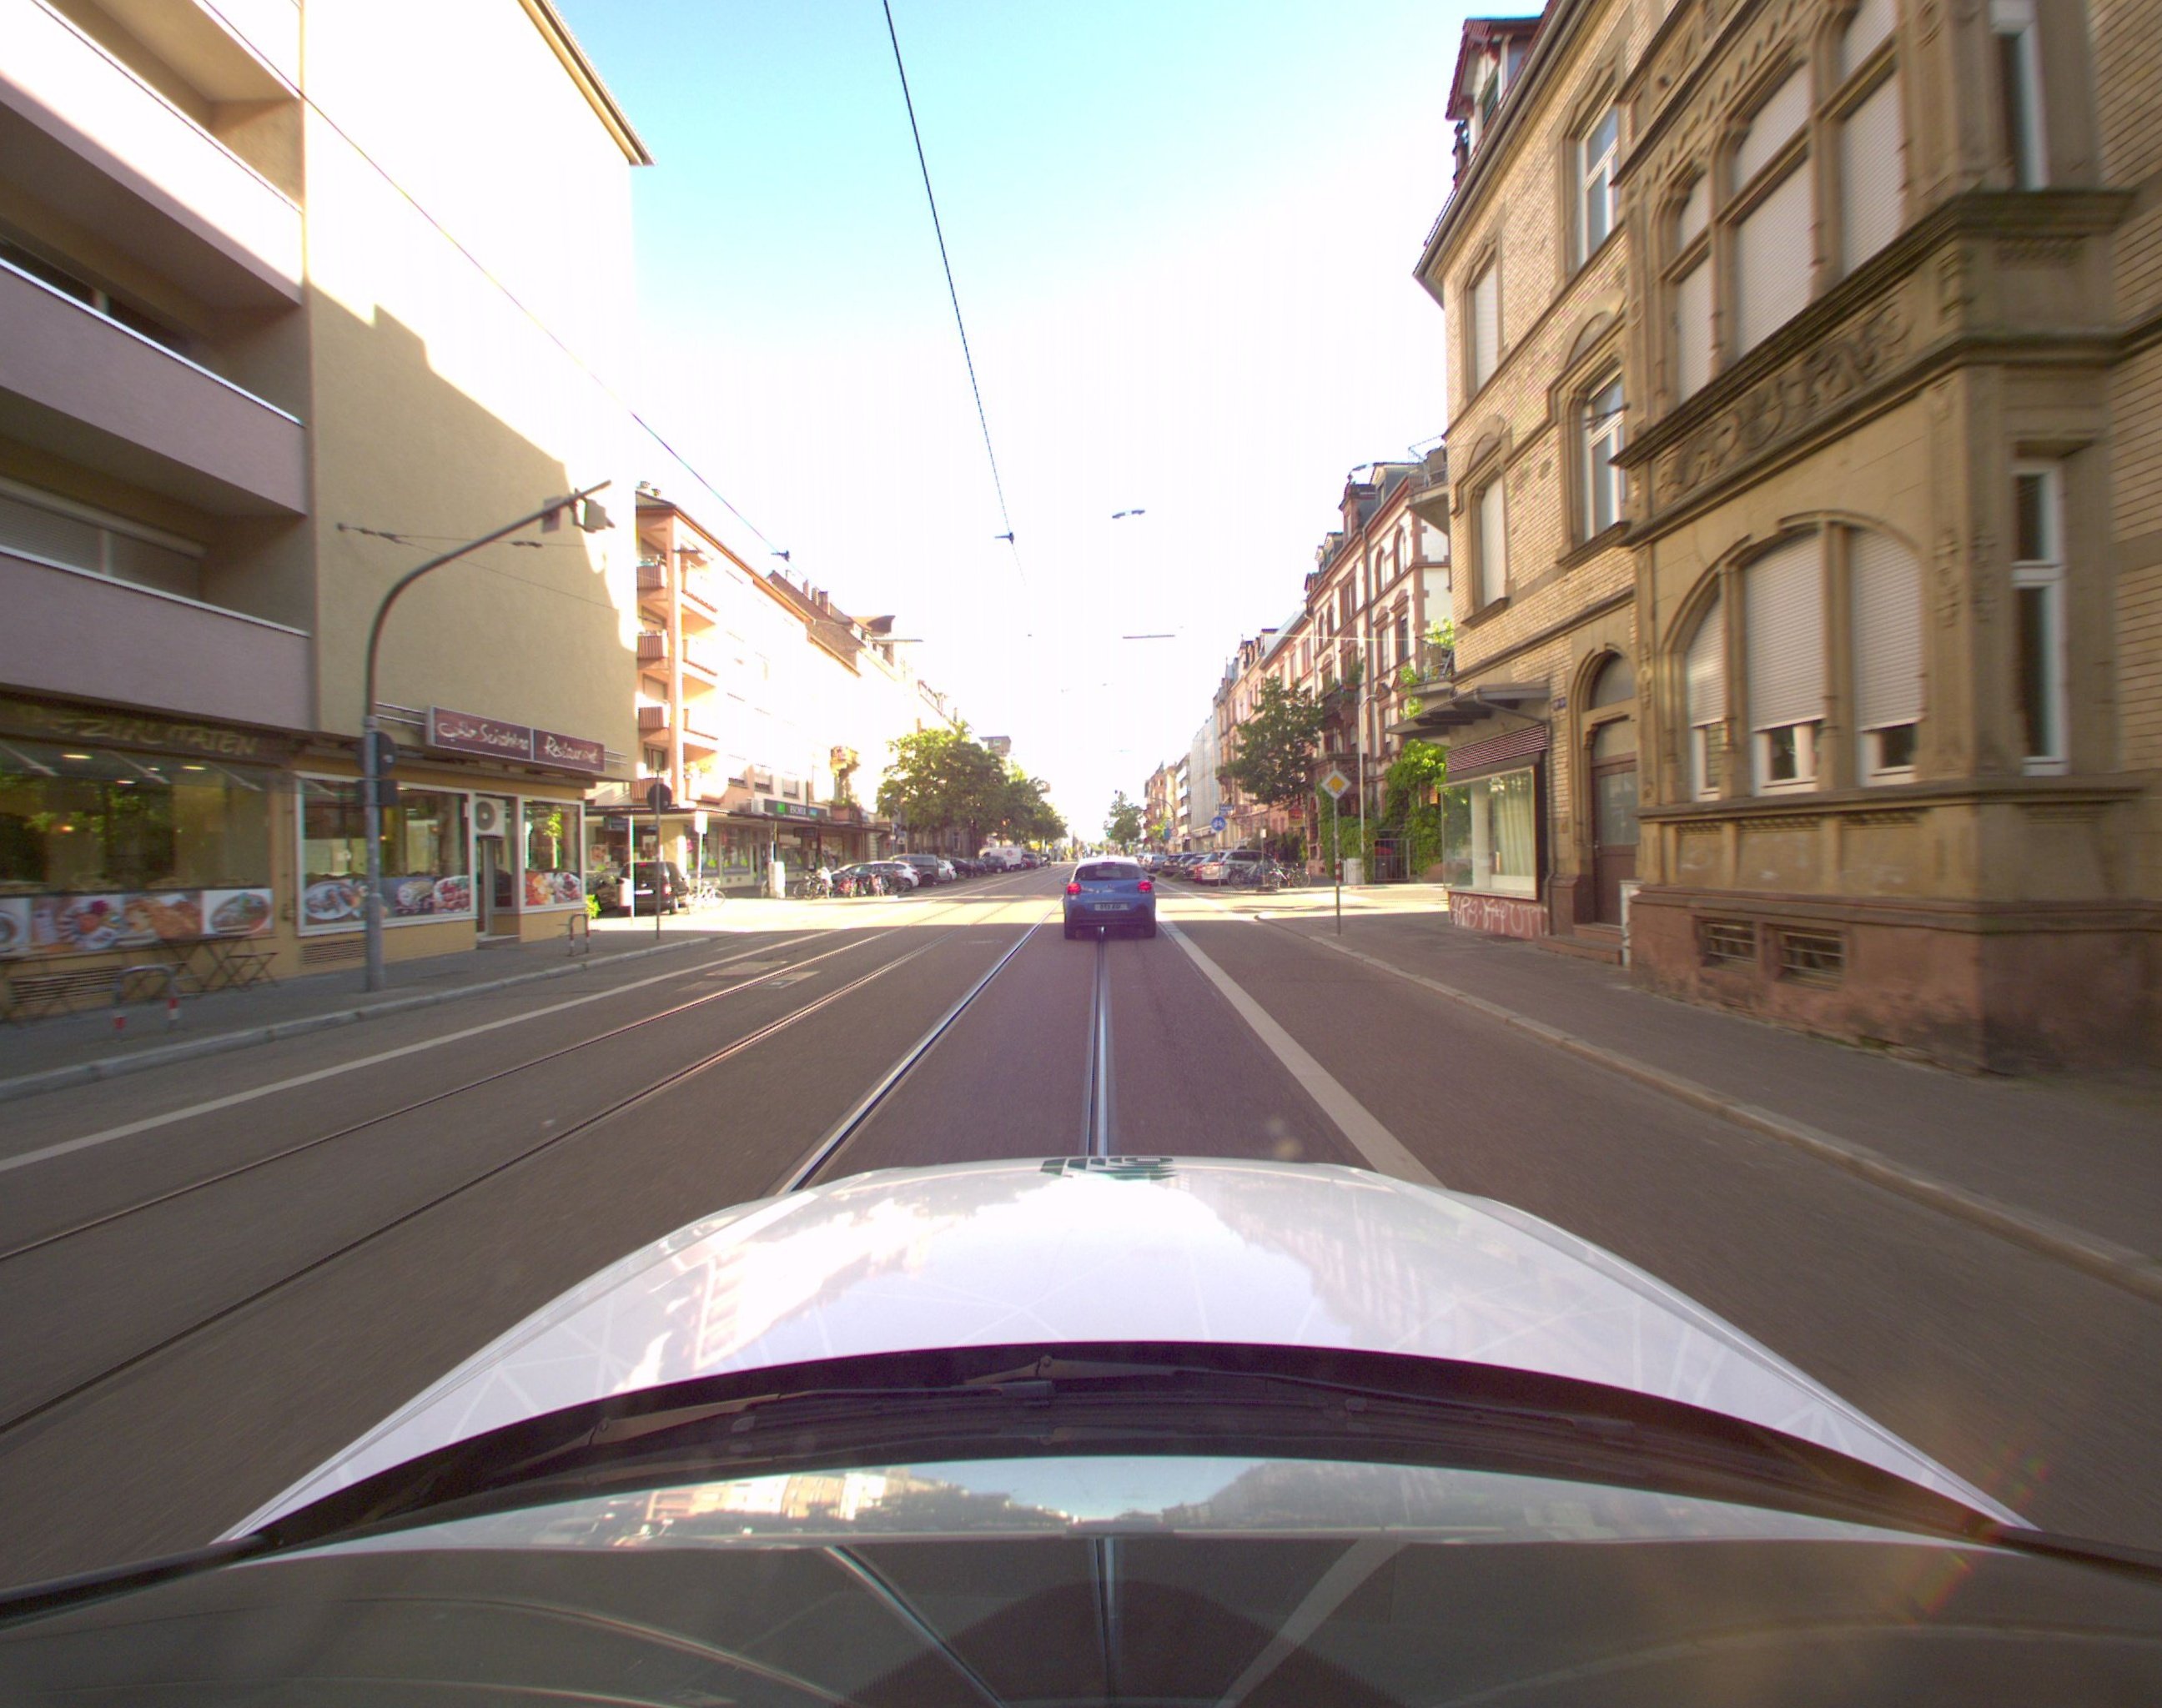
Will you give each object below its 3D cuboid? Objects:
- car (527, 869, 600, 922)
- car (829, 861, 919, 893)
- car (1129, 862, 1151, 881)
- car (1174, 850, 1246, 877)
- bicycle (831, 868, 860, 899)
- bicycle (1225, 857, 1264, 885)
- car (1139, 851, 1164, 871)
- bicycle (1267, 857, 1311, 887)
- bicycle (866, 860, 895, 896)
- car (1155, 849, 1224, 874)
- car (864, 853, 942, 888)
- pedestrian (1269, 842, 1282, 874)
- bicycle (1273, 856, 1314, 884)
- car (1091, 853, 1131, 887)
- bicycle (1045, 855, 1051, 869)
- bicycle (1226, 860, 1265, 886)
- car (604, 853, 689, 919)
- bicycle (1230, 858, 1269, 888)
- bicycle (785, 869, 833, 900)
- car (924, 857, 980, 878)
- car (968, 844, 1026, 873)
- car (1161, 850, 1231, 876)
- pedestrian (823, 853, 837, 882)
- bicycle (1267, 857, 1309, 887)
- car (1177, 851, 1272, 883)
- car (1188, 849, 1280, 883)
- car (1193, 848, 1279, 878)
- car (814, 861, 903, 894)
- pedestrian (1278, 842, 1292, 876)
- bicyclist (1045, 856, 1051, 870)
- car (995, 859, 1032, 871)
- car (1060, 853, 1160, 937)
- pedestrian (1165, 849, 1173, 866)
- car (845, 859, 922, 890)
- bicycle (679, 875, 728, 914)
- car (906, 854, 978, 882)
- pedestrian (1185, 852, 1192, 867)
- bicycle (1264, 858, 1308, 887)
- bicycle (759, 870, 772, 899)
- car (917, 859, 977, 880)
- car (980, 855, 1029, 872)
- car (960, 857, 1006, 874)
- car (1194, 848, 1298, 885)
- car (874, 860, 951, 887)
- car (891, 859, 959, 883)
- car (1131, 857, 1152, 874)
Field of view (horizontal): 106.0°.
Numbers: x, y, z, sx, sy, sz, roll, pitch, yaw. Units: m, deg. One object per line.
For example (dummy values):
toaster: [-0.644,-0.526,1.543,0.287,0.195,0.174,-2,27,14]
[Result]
car: [-17.768,1.369,28.097,1.854,1.392,3.964,-1,3,-29]
car: [-9.800,1.054,38.679,3.804,1.400,1.737,0,-1,-32]
car: [5.288,1.550,73.469,1.866,1.596,4.002,-1,0,2]
car: [7.926,0.562,50.090,4.004,1.596,1.944,0,-1,-23]
bicycle: [-9.472,1.162,32.725,0.686,1.123,1.870,-2,2,-29]
bicycle: [6.762,0.705,33.691,1.551,1.127,0.295,-1,-1,7]
car: [5.821,0.598,67.771,1.866,1.596,4.721,-1,0,2]
bicycle: [7.977,0.670,31.249,1.547,1.127,0.552,-1,-1,7]
bicycle: [-8.146,0.947,33.178,0.680,1.319,2.434,-1,2,-2]
car: [7.412,0.512,55.684,4.322,1.596,1.967,0,-1,-23]
car: [-9.718,0.876,44.383,3.831,1.785,1.781,0,-1,-27]
pedestrian: [10.162,0.202,42.591,0.516,1.648,0.864,-1,-1,2]
bicycle: [8.743,0.640,33.567,1.547,1.127,0.552,-1,-1,7]
car: [1.497,0.781,40.709,1.866,1.596,4.002,-1,0,2]
bicycle: [-4.172,0.999,103.256,0.678,1.678,2.097,-1,-1,2]
bicycle: [6.720,0.776,33.365,1.547,1.079,0.308,-1,-1,7]
car: [-15.000,1.027,28.362,1.849,1.817,4.330,-4,4,-19]
bicycle: [6.540,0.746,31.617,1.397,1.127,0.549,-1,-1,-11]
bicycle: [-10.765,1.195,32.197,2.405,1.109,0.688,1,2,42]
car: [-10.067,1.036,63.493,4.008,1.489,1.790,0,-1,-27]
car: [-8.322,0.413,80.756,5.402,2.749,1.789,0,-1,-29]
car: [7.479,0.589,53.089,4.004,1.596,2.071,0,-1,-23]
pedestrian: [-14.259,0.763,46.194,0.567,1.652,0.641,-1,-1,1]
bicycle: [8.070,0.692,31.825,1.547,1.127,0.529,-1,-1,7]
car: [7.459,0.650,42.379,4.454,1.596,2.072,0,-1,-23]
car: [7.429,0.567,39.601,4.004,1.536,1.904,0,-1,-23]
car: [8.598,0.485,45.240,4.337,1.596,2.029,0,-1,-23]
car: [-9.755,1.015,35.741,3.484,1.337,1.608,0,-1,-33]
pedestrian: [10.778,0.250,42.978,0.516,1.778,0.864,-1,-1,2]
bicyclist: [-4.161,1.125,103.325,0.632,1.681,0.727,-1,-1,1]
car: [-7.521,1.215,90.750,3.815,1.265,1.504,0,-1,-24]
car: [0.553,0.734,16.099,1.756,1.441,3.557,-1,0,1]
pedestrian: [8.199,0.314,76.051,0.709,1.607,0.654,-1,-1,0]
car: [-10.069,1.013,41.515,3.479,1.473,1.634,-1,0,-28]
bicycle: [-12.800,1.338,27.702,0.680,1.109,2.432,-1,2,-5]
car: [-9.378,0.946,54.866,4.381,1.783,1.976,0,-1,-31]
pedestrian: [12.531,0.621,94.647,0.690,1.756,0.678,-1,-1,1]
bicycle: [8.146,0.744,32.399,1.665,1.127,0.552,-1,-1,7]
bicycle: [-12.662,1.214,32.664,0.404,1.109,1.825,-1,-1,-19]
car: [-9.941,1.110,60.573,4.013,1.489,1.788,0,-1,-31]
car: [-7.934,0.983,84.680,4.787,1.618,1.695,0,-1,-31]
car: [-9.024,1.049,75.053,3.994,1.489,1.797,-1,-1,-15]
car: [7.516,0.532,36.988,4.370,1.596,1.839,0,-1,-23]
car: [-9.730,1.096,47.129,4.032,1.449,1.682,0,-1,-31]
car: [-9.720,1.045,50.628,3.850,1.430,1.752,0,-1,-25]
car: [5.803,1.069,79.048,1.866,1.596,4.002,-1,0,2]
